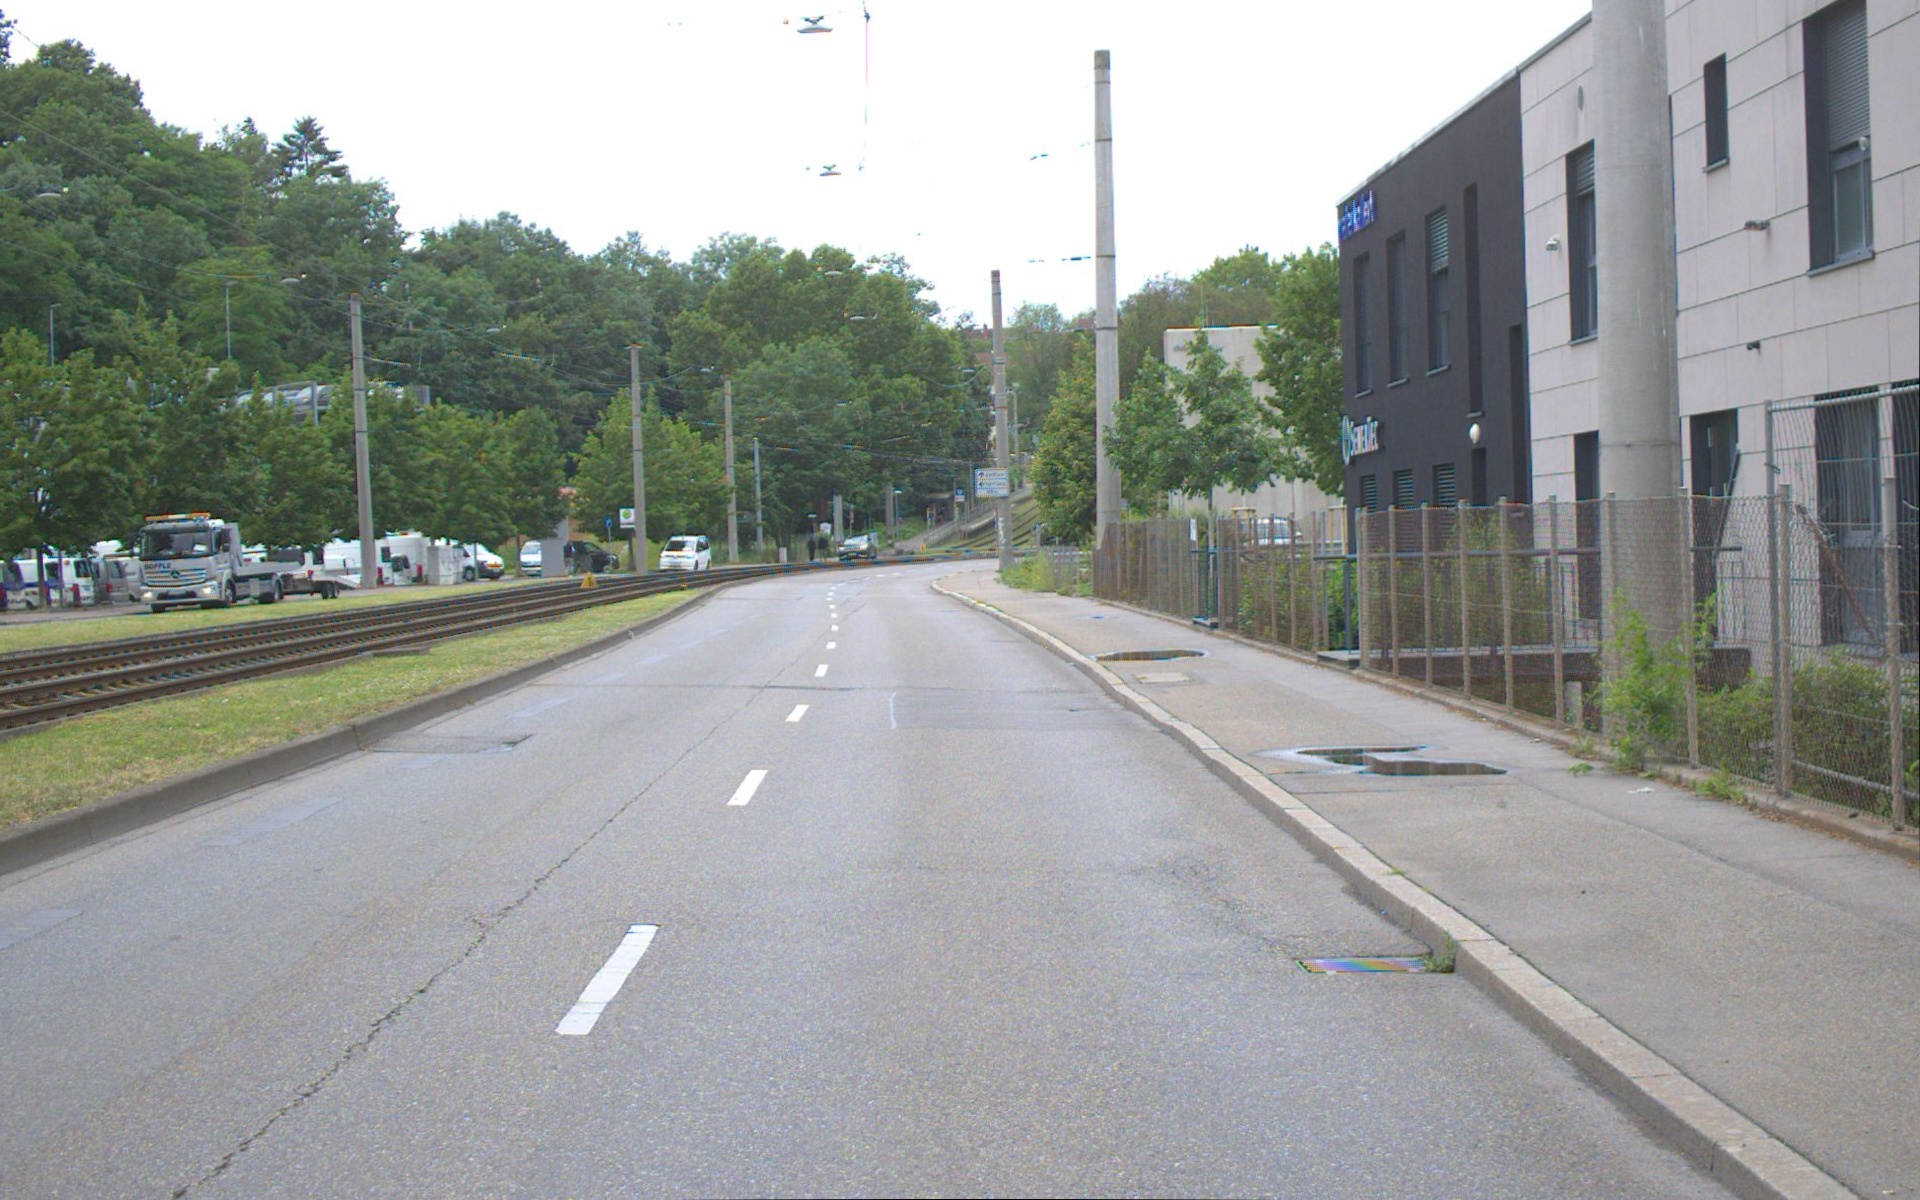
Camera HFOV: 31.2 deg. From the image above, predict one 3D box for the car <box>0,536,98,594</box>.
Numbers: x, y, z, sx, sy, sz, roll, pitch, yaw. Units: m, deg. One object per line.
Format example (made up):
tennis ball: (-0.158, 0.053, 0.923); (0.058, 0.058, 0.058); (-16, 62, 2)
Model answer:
car: (-29.871, -1.099, 110.024); (3.988, 1.700, 1.834); (-2, 2, 5)

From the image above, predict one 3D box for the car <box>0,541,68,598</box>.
car: (-30.186, -0.932, 107.514); (3.988, 1.700, 1.834); (-2, 1, 5)

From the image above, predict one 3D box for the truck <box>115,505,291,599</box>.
truck: (-22.000, -1.443, 100.285); (2.884, 2.580, 6.910); (-1, 1, 6)

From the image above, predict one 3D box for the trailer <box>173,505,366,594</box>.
trailer: (-21.287, -1.624, 106.699); (2.893, 2.574, 9.992); (-1, 1, 6)

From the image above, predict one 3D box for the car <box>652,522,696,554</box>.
car: (-15.136, -3.301, 182.251); (1.993, 1.634, 4.000); (-1, 1, -1)

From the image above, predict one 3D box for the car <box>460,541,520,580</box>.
car: (-23.859, -2.008, 174.666); (1.828, 1.700, 4.141); (-2, -2, 10)

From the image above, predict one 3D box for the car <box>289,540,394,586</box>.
car: (-26.018, -1.550, 144.667); (3.988, 1.700, 1.833); (-2, -2, 5)

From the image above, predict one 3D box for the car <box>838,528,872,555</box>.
car: (-6.456, -3.608, 211.973); (1.993, 1.634, 4.000); (-1, 1, -1)

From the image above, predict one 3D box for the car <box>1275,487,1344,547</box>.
car: (10.447, -2.487, 102.544); (1.828, 1.700, 3.804); (-2, 1, 8)

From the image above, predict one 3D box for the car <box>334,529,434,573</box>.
car: (-25.491, -2.155, 152.249); (3.988, 1.700, 1.833); (-2, -2, 5)

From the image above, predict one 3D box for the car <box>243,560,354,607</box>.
car: (-26.828, -0.681, 139.483); (3.988, 1.700, 1.834); (-2, 2, 5)

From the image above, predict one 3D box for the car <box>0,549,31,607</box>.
car: (-30.615, -0.605, 104.749); (3.988, 1.700, 1.834); (-2, 2, 5)

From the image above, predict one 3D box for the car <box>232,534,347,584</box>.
car: (-26.133, -1.587, 134.045); (3.988, 1.700, 1.833); (-2, -2, 5)
